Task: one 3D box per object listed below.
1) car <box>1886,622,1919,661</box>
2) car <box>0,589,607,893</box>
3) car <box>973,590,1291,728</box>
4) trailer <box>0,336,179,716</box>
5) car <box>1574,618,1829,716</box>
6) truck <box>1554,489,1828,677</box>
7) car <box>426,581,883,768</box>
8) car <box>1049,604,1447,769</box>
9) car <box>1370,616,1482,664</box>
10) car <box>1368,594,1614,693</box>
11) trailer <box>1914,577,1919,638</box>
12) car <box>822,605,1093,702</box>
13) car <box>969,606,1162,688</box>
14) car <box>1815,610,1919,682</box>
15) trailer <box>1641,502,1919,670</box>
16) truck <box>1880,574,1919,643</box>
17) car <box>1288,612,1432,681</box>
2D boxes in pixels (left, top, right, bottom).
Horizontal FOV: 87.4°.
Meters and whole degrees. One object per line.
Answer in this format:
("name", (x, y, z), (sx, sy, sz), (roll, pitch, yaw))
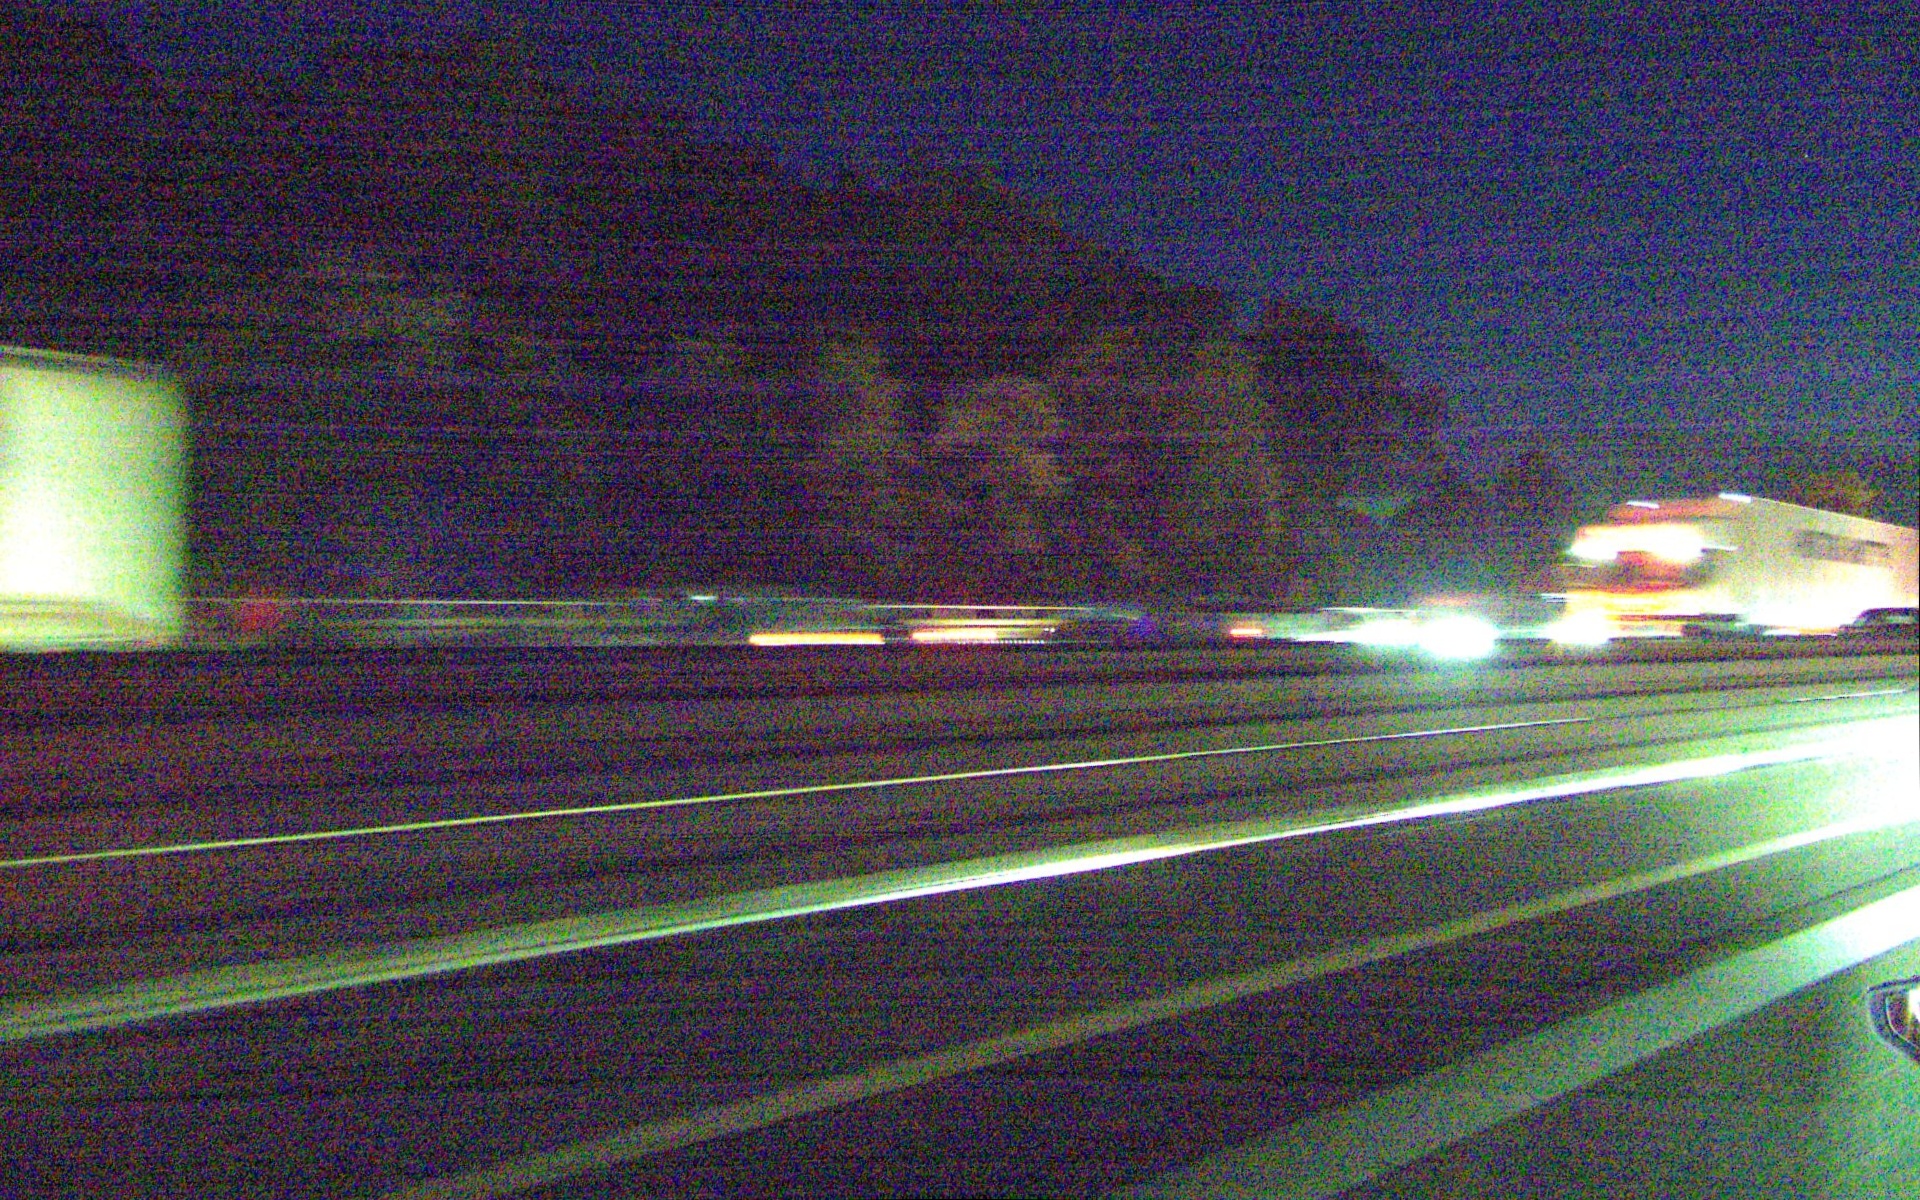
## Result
("car", (35.885, 1.531, 36.963), (4.114, 1.333, 1.562), (1, 1, -32))
("car", (-4.663, 0.690, 5.924), (4.597, 1.462, 1.903), (1, -1, -31))
("car", (2.709, 0.838, 15.487), (4.694, 1.834, 1.983), (1, -1, -31))
("trailer", (-13.276, -0.804, 9.885), (8.653, 3.969, 2.801), (1, -1, -36))
("car", (12.432, 1.054, 16.790), (4.456, 1.445, 1.696), (1, 0, -28))
("truck", (18.577, -0.340, 25.429), (7.002, 4.152, 3.089), (3, 2, -33))
("car", (-3.425, 0.750, 11.539), (4.694, 1.759, 1.937), (1, -1, -31))
("car", (3.385, 0.883, 11.581), (4.459, 1.574, 1.825), (1, -1, -30))
("car", (15.550, 1.311, 33.496), (3.733, 1.496, 1.644), (1, 0, -32))
("car", (11.097, 0.870, 20.863), (5.423, 1.834, 1.984), (1, -1, -31))
("trailer", (54.726, 0.627, 54.235), (8.909, 3.218, 2.590), (2, 2, -34))
("car", (0.009, 0.877, 17.281), (4.456, 1.509, 1.535), (1, 0, -28))
("car", (2.350, 0.961, 21.641), (4.468, 1.617, 1.208), (1, -1, -36))
("car", (22.457, 1.053, 23.866), (4.459, 1.445, 1.834), (1, 3, -30))
("trailer", (24.757, -0.200, 29.457), (12.315, 4.143, 3.072), (3, 2, -33))
("truck", (48.925, 0.553, 50.354), (5.735, 3.262, 2.627), (3, 2, -33))
("car", (9.529, 1.084, 23.826), (3.614, 1.424, 1.360), (2, 4, -36))
